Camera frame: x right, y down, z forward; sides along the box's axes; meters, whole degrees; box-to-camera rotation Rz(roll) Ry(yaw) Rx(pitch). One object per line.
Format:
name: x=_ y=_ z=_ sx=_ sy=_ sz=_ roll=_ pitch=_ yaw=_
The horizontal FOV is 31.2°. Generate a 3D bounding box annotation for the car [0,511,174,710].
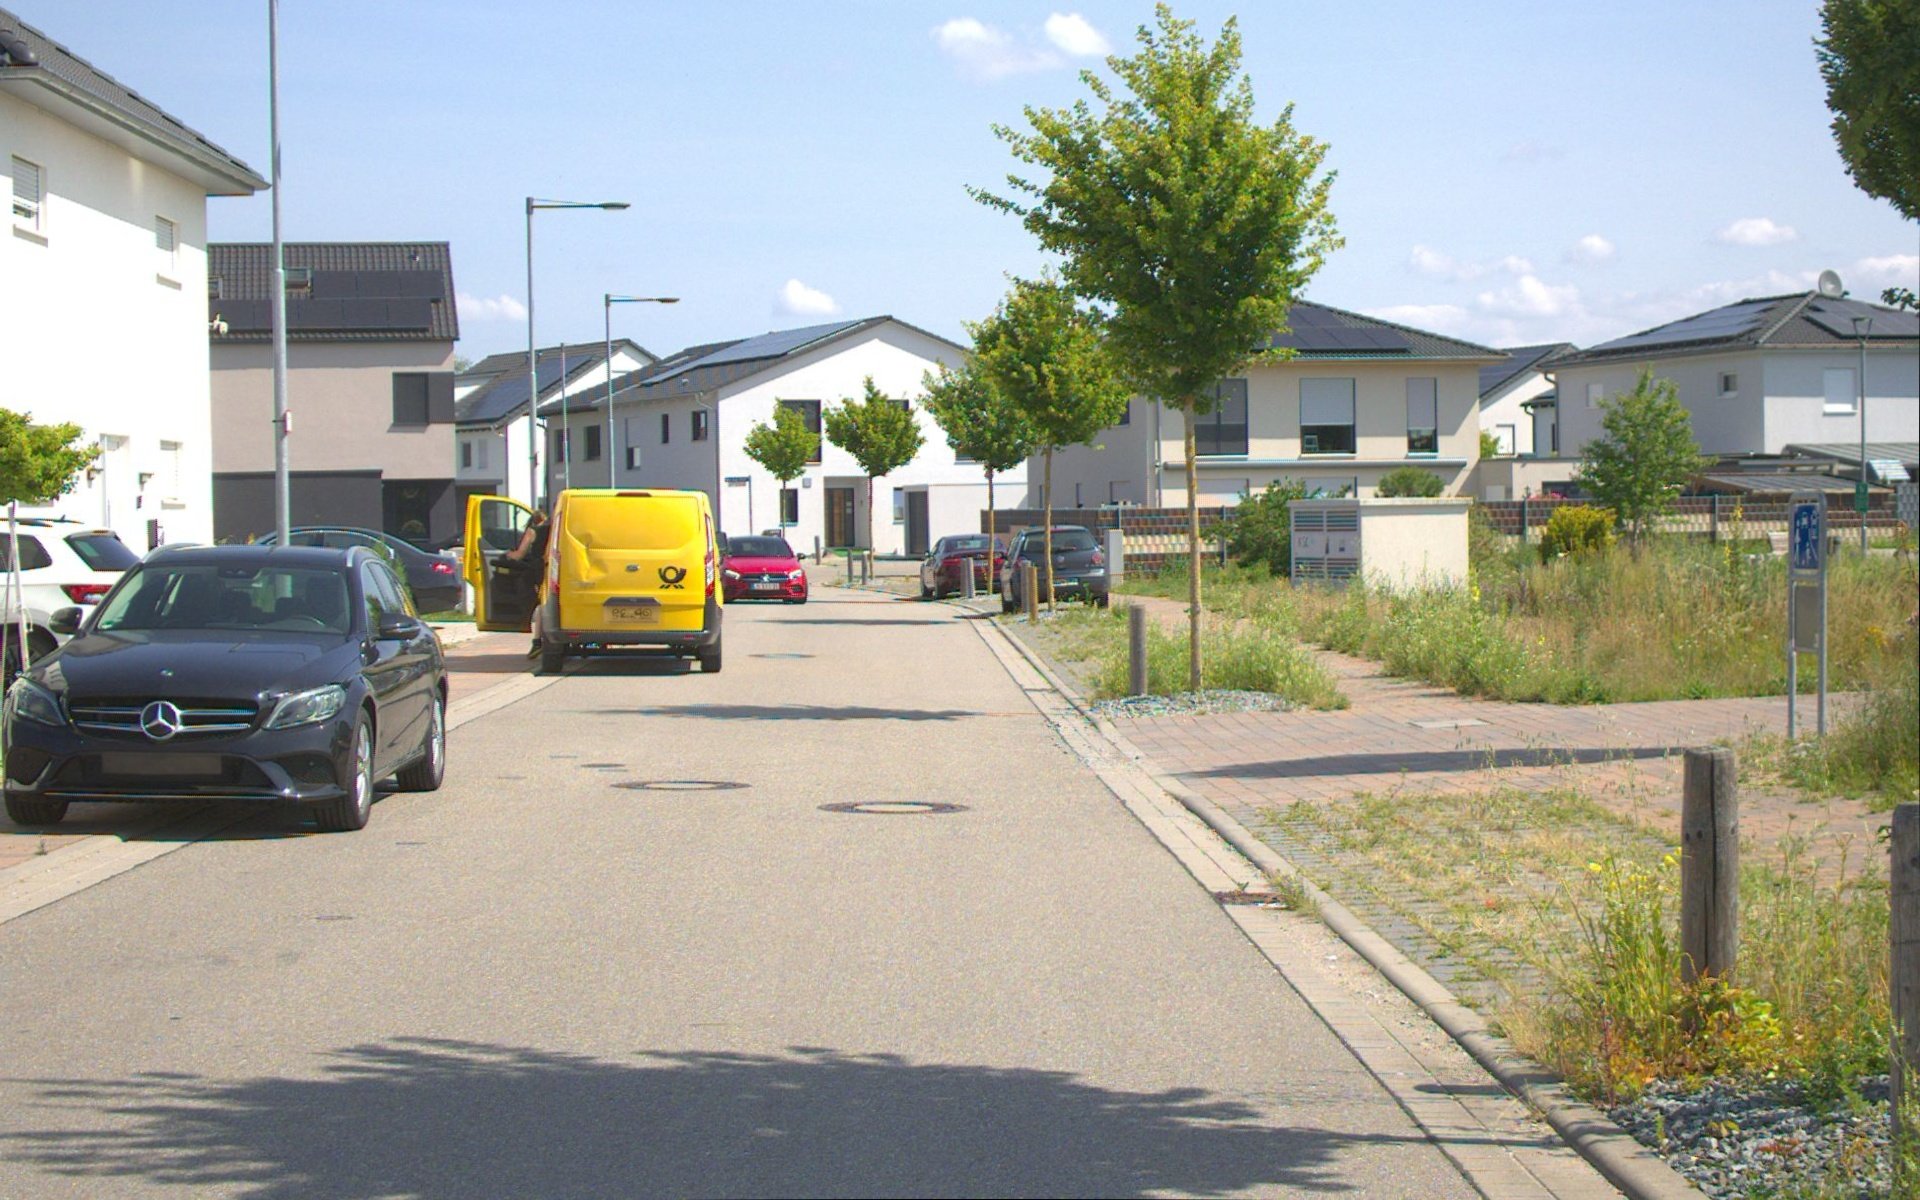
car: x=-8.879 y=0.048 z=28.942 sx=4.069 sy=1.576 sz=1.784 roll=1 pitch=2 yaw=5

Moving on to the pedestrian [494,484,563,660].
pedestrian: x=-4.987 y=-0.324 z=39.781 sx=0.651 sy=2.007 sz=1.124 roll=-1 pitch=0 yaw=-1

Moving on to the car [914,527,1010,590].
car: x=0.020 y=-0.920 z=77.375 sx=1.627 sy=1.318 sz=3.834 roll=-1 pitch=-1 yaw=-8

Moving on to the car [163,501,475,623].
car: x=-9.205 y=-0.548 z=49.311 sx=4.159 sy=1.499 sz=1.816 roll=3 pitch=0 yaw=-17

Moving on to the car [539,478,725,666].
car: x=-3.664 y=-0.312 z=38.643 sx=1.941 sy=1.975 sz=4.218 roll=-1 pitch=0 yaw=-5

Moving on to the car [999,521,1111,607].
car: x=1.596 y=-0.588 z=58.778 sx=1.639 sy=1.398 sz=3.811 roll=-1 pitch=0 yaw=-2

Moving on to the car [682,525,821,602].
car: x=-4.421 y=-0.798 z=72.208 sx=1.993 sy=1.426 sz=4.703 roll=-1 pitch=3 yaw=-15

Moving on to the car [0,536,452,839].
car: x=-3.915 y=0.389 z=18.761 sx=1.745 sy=1.400 sz=4.160 roll=1 pitch=1 yaw=-2
